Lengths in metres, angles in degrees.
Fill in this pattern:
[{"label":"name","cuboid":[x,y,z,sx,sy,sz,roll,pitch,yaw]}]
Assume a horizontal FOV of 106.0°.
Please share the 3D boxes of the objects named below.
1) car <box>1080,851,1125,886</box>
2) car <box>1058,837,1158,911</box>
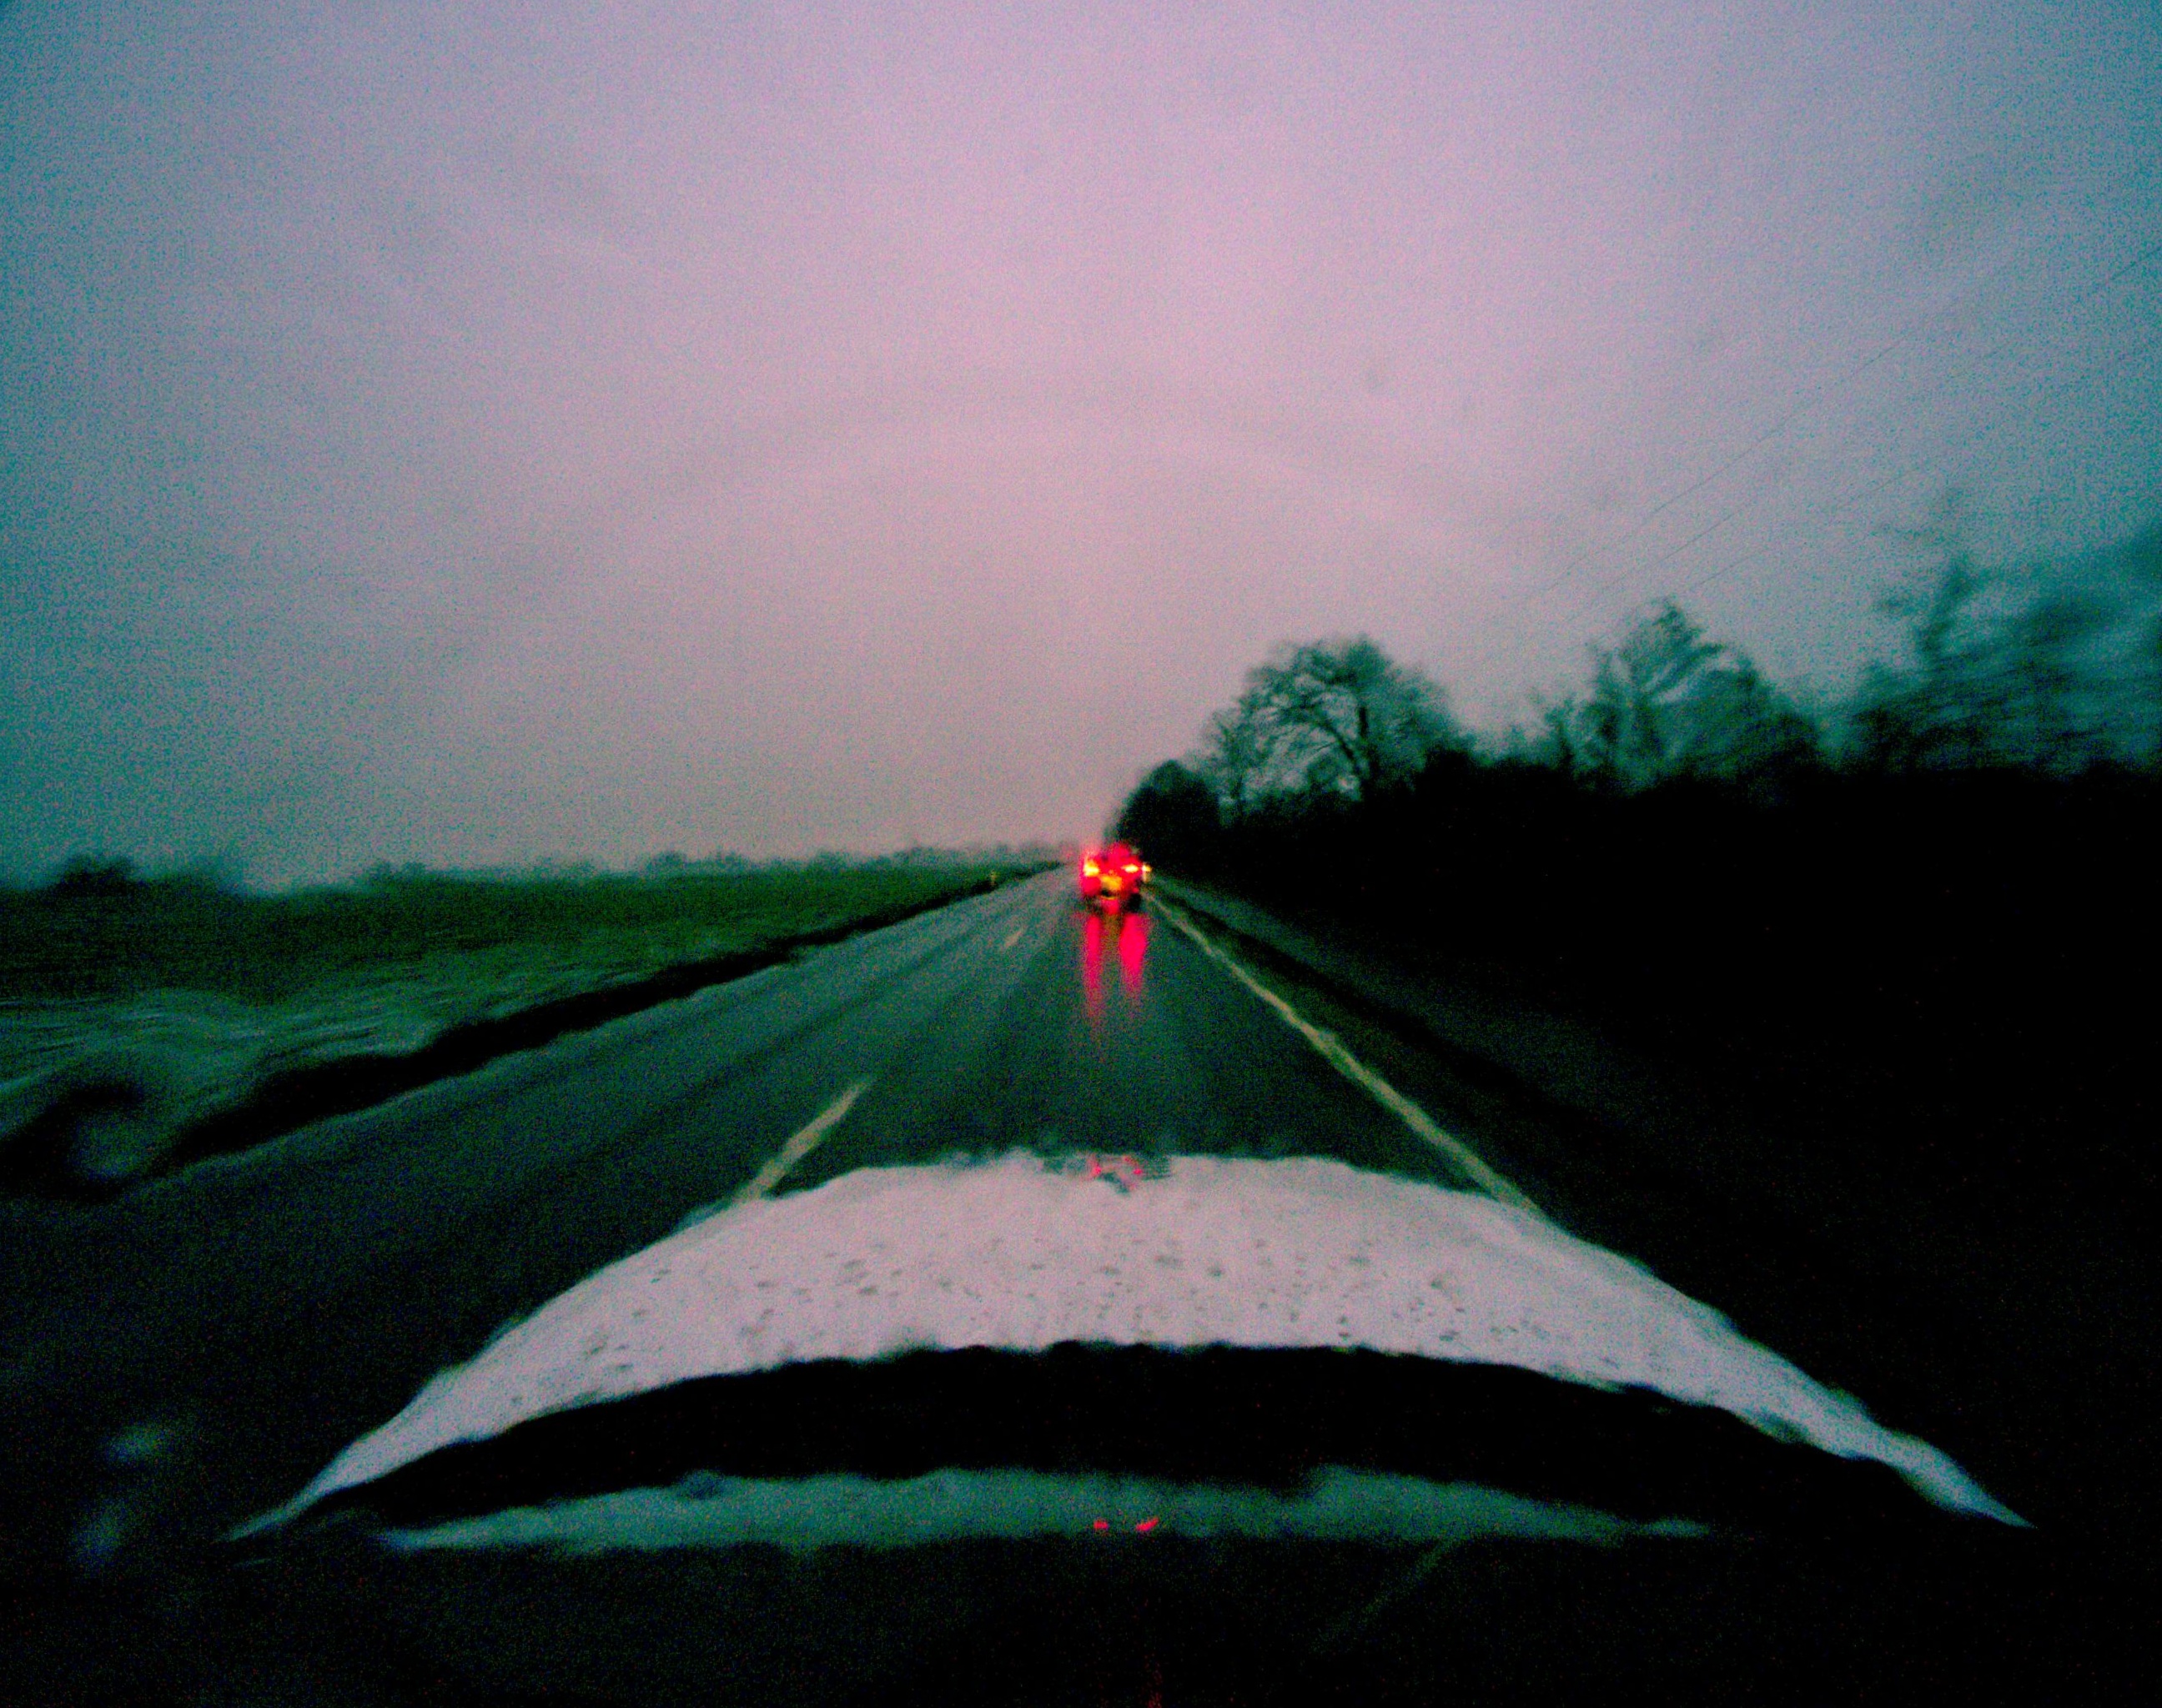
[{"label":"car","cuboid":[1.349,0.865,50.268,2.582,2.014,5.806,0,0,2]},{"label":"car","cuboid":[0.846,0.591,25.884,2.810,2.077,5.806,0,0,2]}]
